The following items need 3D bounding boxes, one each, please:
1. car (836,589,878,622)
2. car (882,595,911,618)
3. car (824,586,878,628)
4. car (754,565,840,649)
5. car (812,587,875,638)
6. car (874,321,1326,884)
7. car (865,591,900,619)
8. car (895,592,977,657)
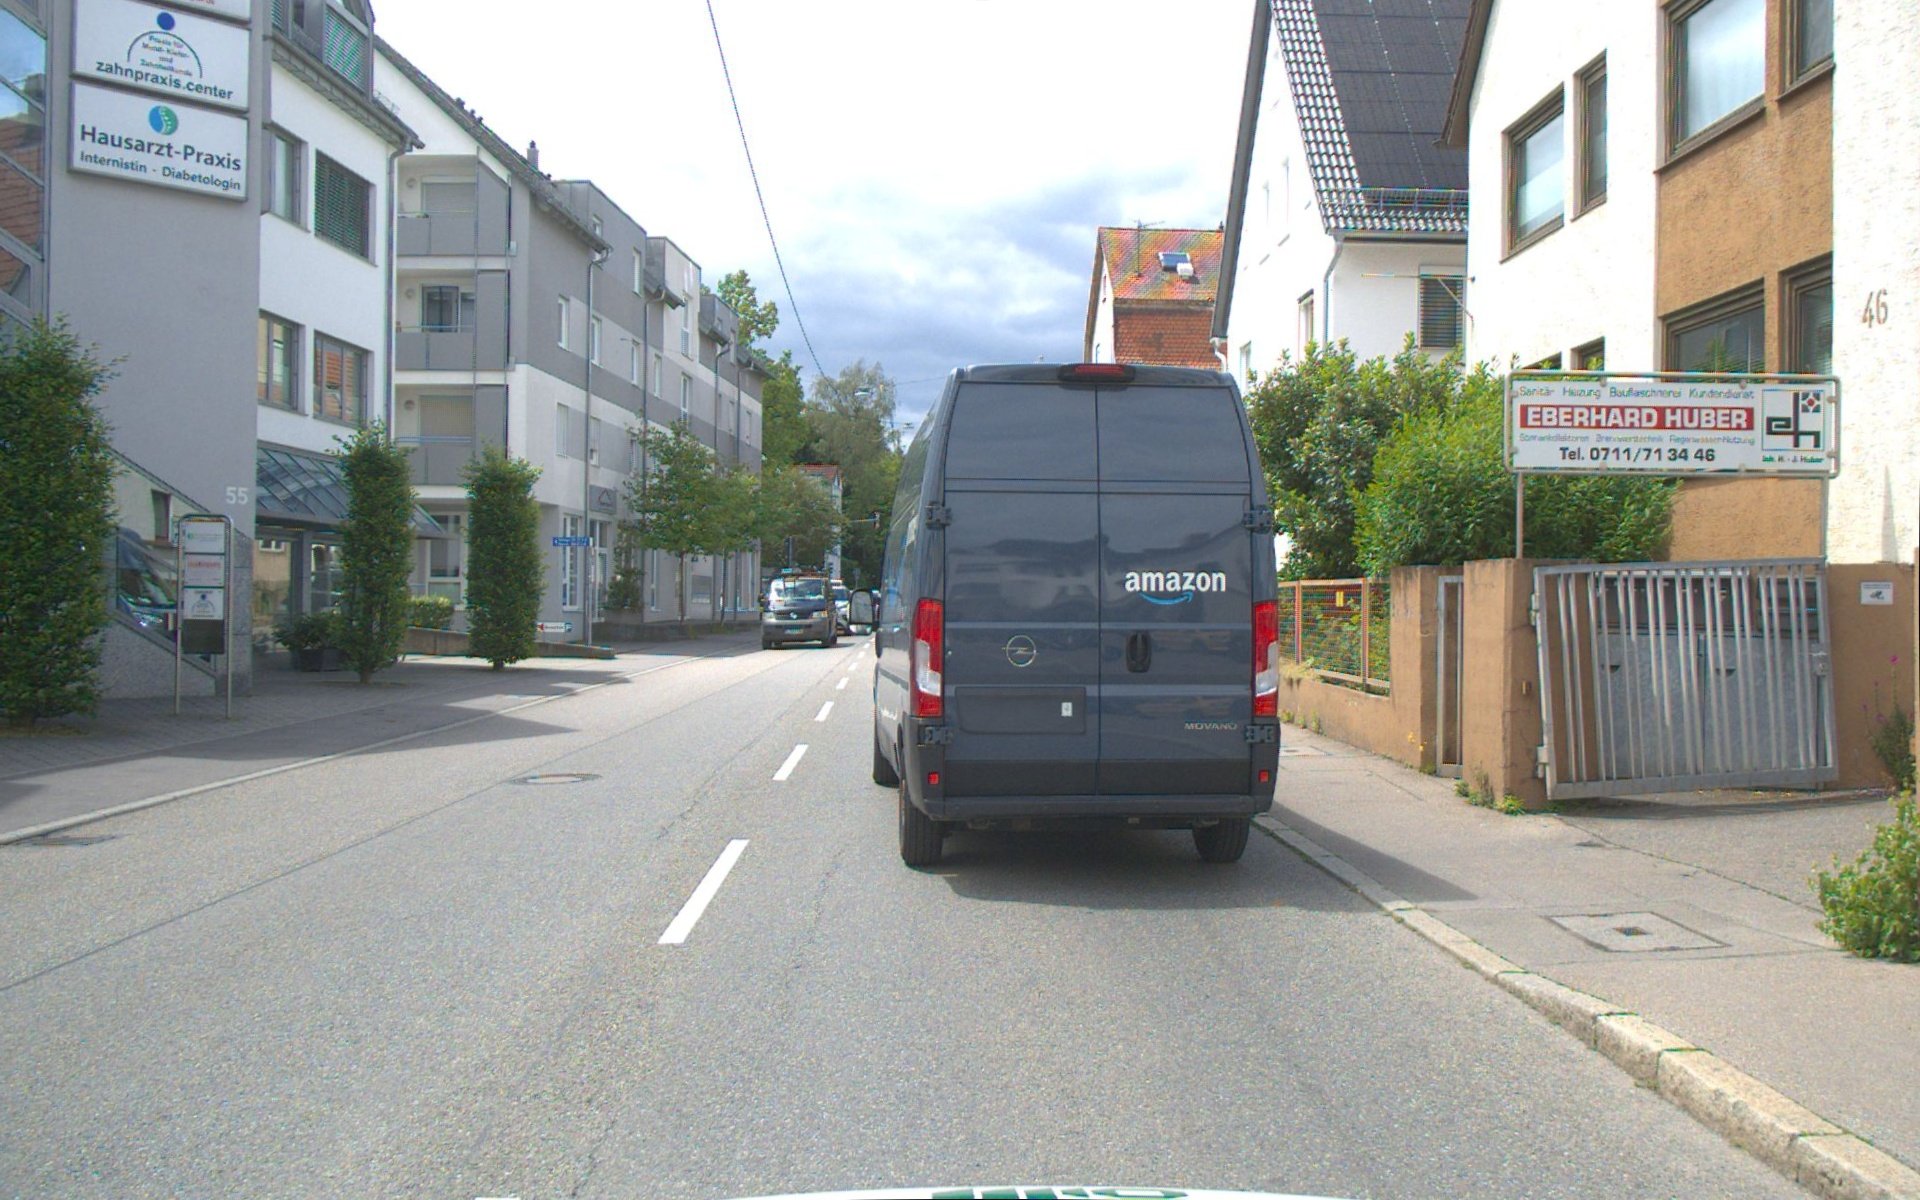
[{"bbox_3d":[-5.223,0.243,84.247,2.063,1.624,4.647,0,0,-2],"label":"car"},{"bbox_3d":[-4.649,0.451,120.174,2.063,1.624,4.647,0,0,-2],"label":"car"},{"bbox_3d":[-4.444,0.269,67.988,2.063,1.624,4.647,0,0,-2],"label":"car"},{"bbox_3d":[-4.469,0.177,46.053,2.063,2.158,4.763,-2,0,-2],"label":"car"},{"bbox_3d":[-4.093,0.420,58.703,2.063,1.739,4.763,0,0,-2],"label":"car"},{"bbox_3d":[0.582,0.007,11.224,2.208,2.844,5.564,0,0,-4],"label":"car"},{"bbox_3d":[-4.689,0.291,100.179,2.063,1.624,4.647,0,0,-2],"label":"car"},{"bbox_3d":[-0.524,0.555,39.954,1.857,1.479,3.969,0,0,1],"label":"car"}]
